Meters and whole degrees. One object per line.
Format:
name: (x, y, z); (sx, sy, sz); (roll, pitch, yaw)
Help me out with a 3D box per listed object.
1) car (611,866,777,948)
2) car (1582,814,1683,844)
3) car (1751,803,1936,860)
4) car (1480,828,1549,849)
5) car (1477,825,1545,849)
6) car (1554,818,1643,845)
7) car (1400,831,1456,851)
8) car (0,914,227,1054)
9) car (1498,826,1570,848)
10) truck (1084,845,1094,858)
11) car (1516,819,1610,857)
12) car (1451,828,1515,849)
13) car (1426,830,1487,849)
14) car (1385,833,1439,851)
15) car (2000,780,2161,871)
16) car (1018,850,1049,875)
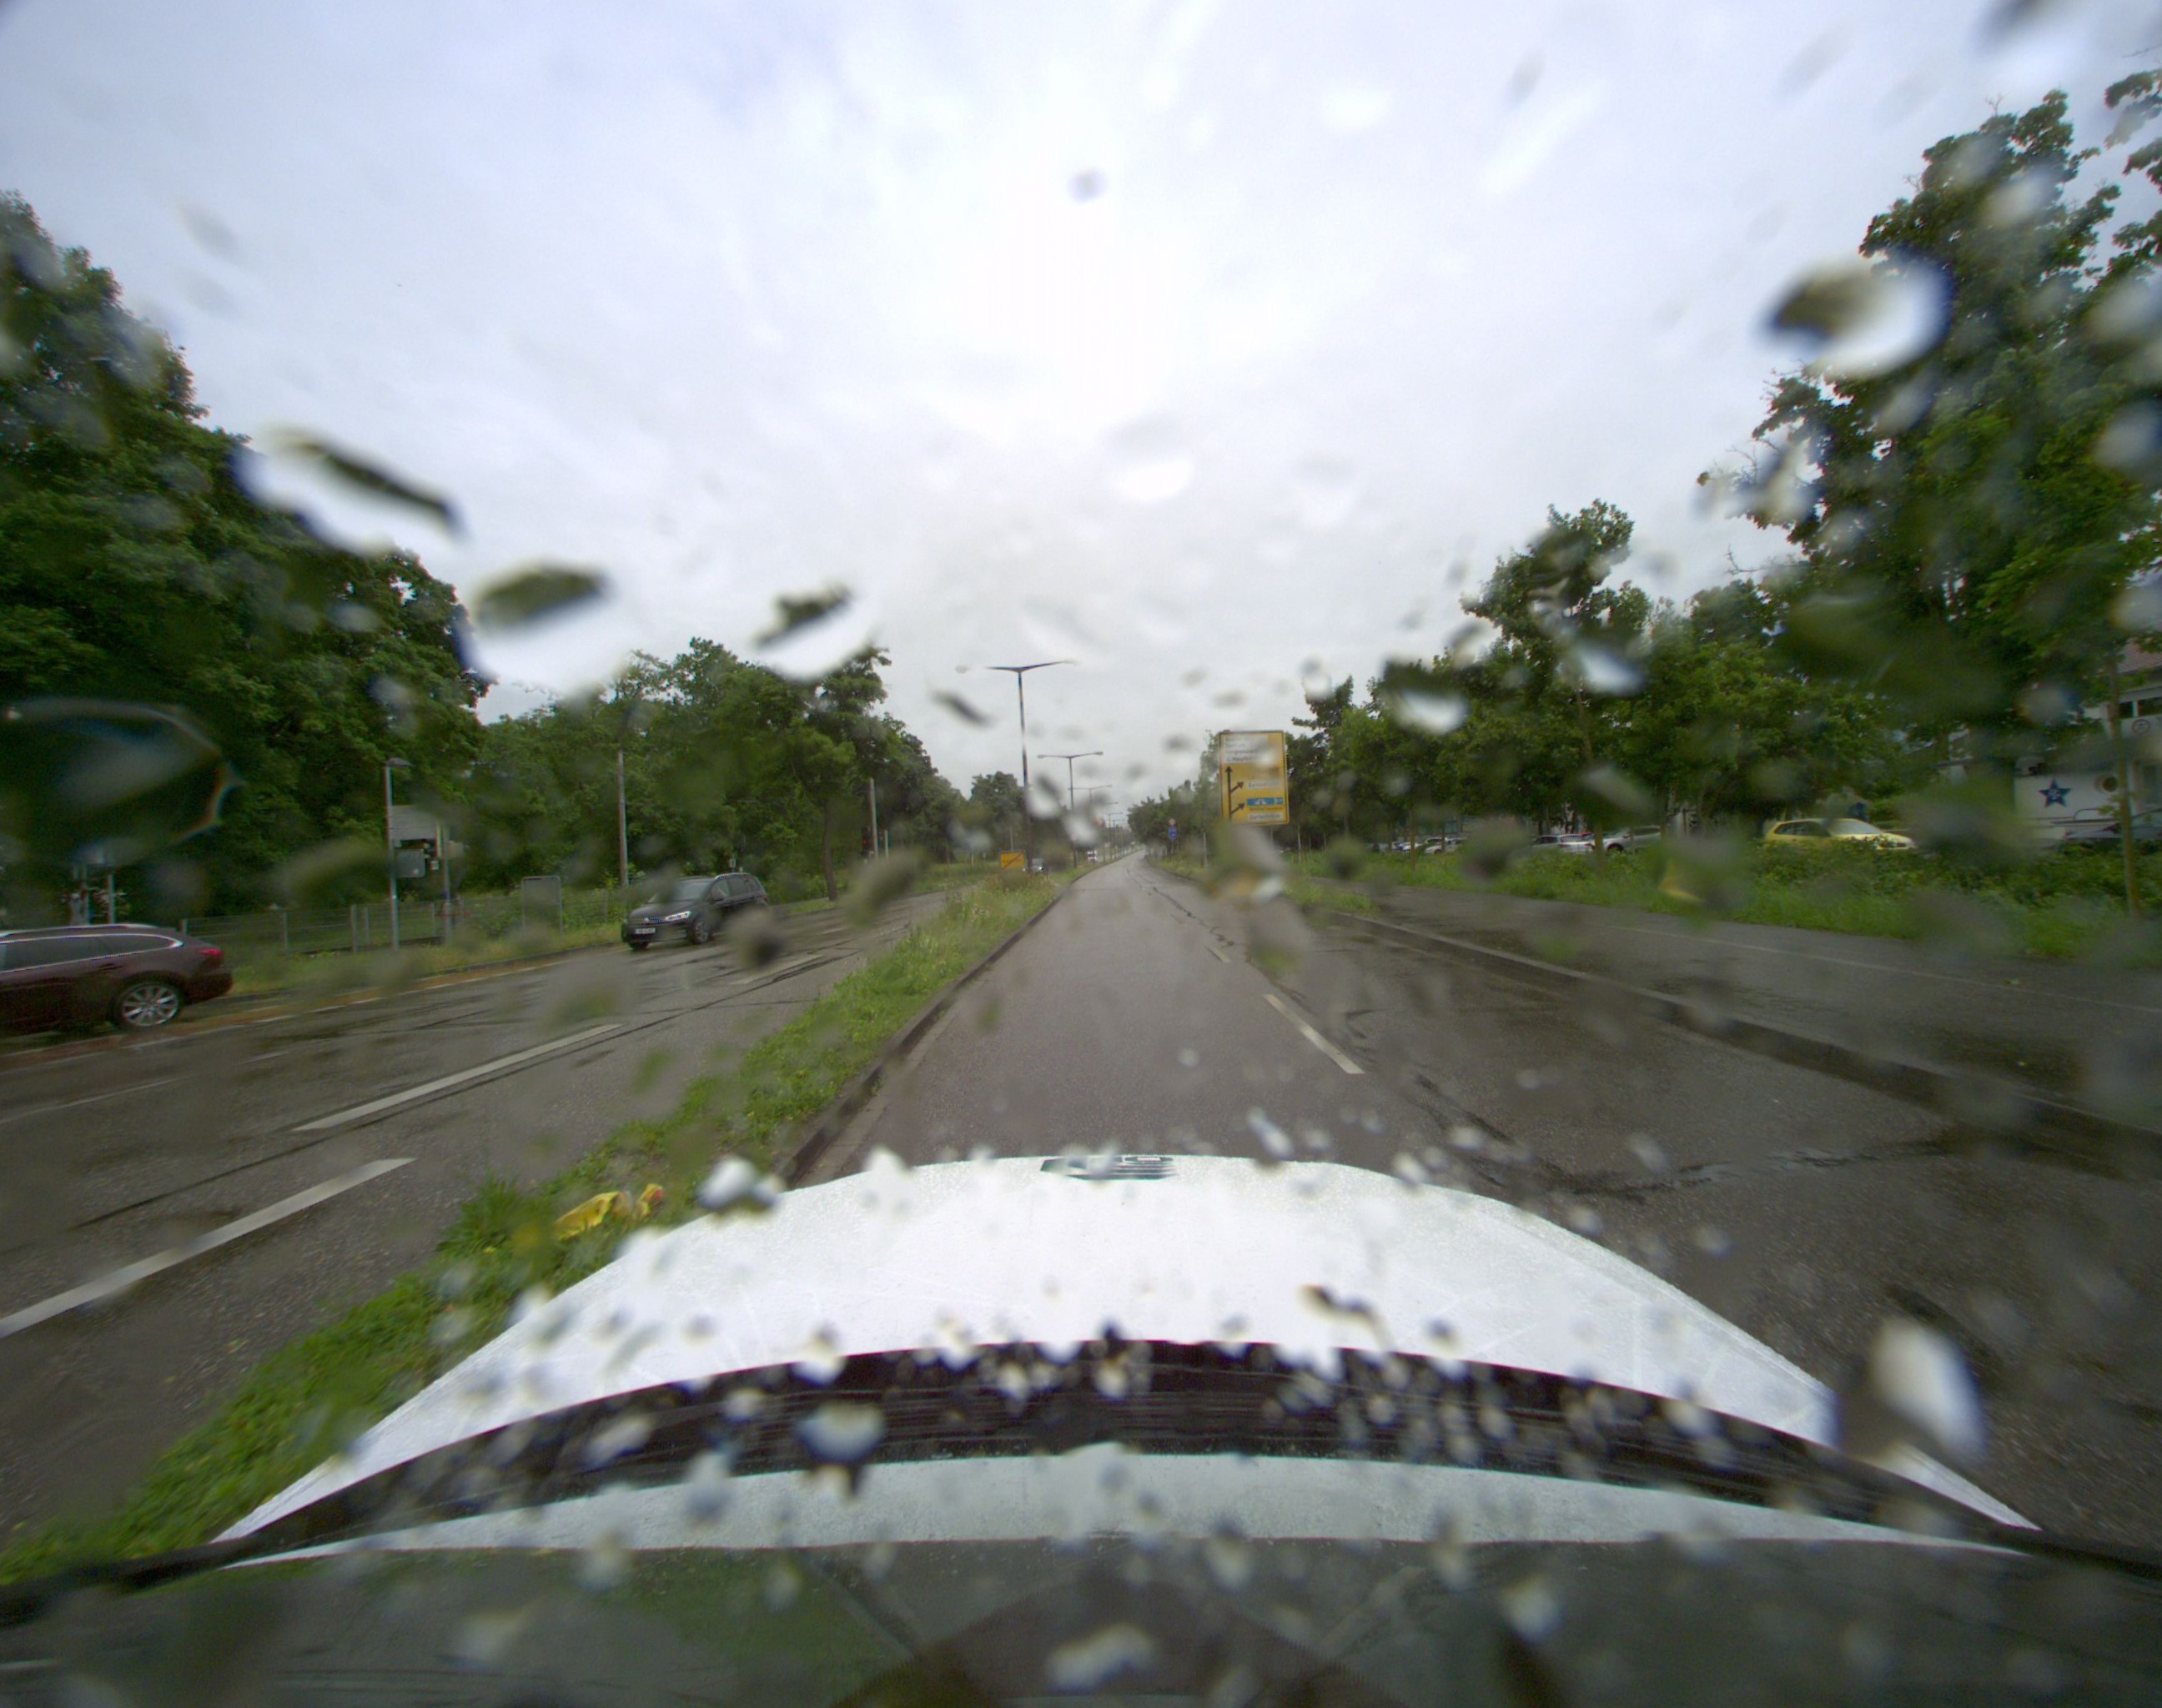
car: (-9.720, 1.255, 20.901); (1.698, 1.641, 4.338); (-5, 0, 6)
car: (30.771, -1.364, 45.515); (4.320, 1.503, 1.924); (-1, 0, 0)
car: (21.970, -0.582, 23.701); (1.631, 1.486, 4.074); (-1, 0, 2)
car: (32.338, -1.157, 60.839); (4.175, 1.484, 1.760); (-1, 0, 0)
car: (33.653, -1.325, 63.823); (4.320, 1.725, 1.945); (-1, 0, 0)
car: (31.949, -1.363, 50.351); (4.320, 1.484, 1.945); (-1, 0, 0)
car: (33.410, -1.243, 78.558); (4.555, 1.705, 1.999); (-1, 0, -1)
car: (-13.851, 1.700, 9.794); (1.858, 1.485, 4.526); (-4, 0, 16)
car: (32.098, -1.194, 57.768); (4.114, 1.460, 1.791); (-1, 0, 2)
truck: (1.933, -0.638, 196.697); (2.130, 2.843, 5.076); (-5, -1, 2)
car: (23.418, -0.752, 39.777); (1.985, 1.625, 4.646); (-4, 0, 4)
car: (33.185, -1.253, 67.226); (4.320, 1.557, 1.945); (-1, 0, 0)
car: (33.529, -1.276, 72.824); (4.545, 1.557, 1.949); (-1, 0, 6)
car: (33.040, -1.221, 81.379); (4.558, 1.645, 1.998); (-1, 0, -2)
car: (21.506, -0.601, 15.850); (1.986, 1.717, 4.643); (-4, 0, 2)
car: (-3.598, 0.637, 62.320); (1.737, 1.650, 4.139); (-5, 0, 3)
